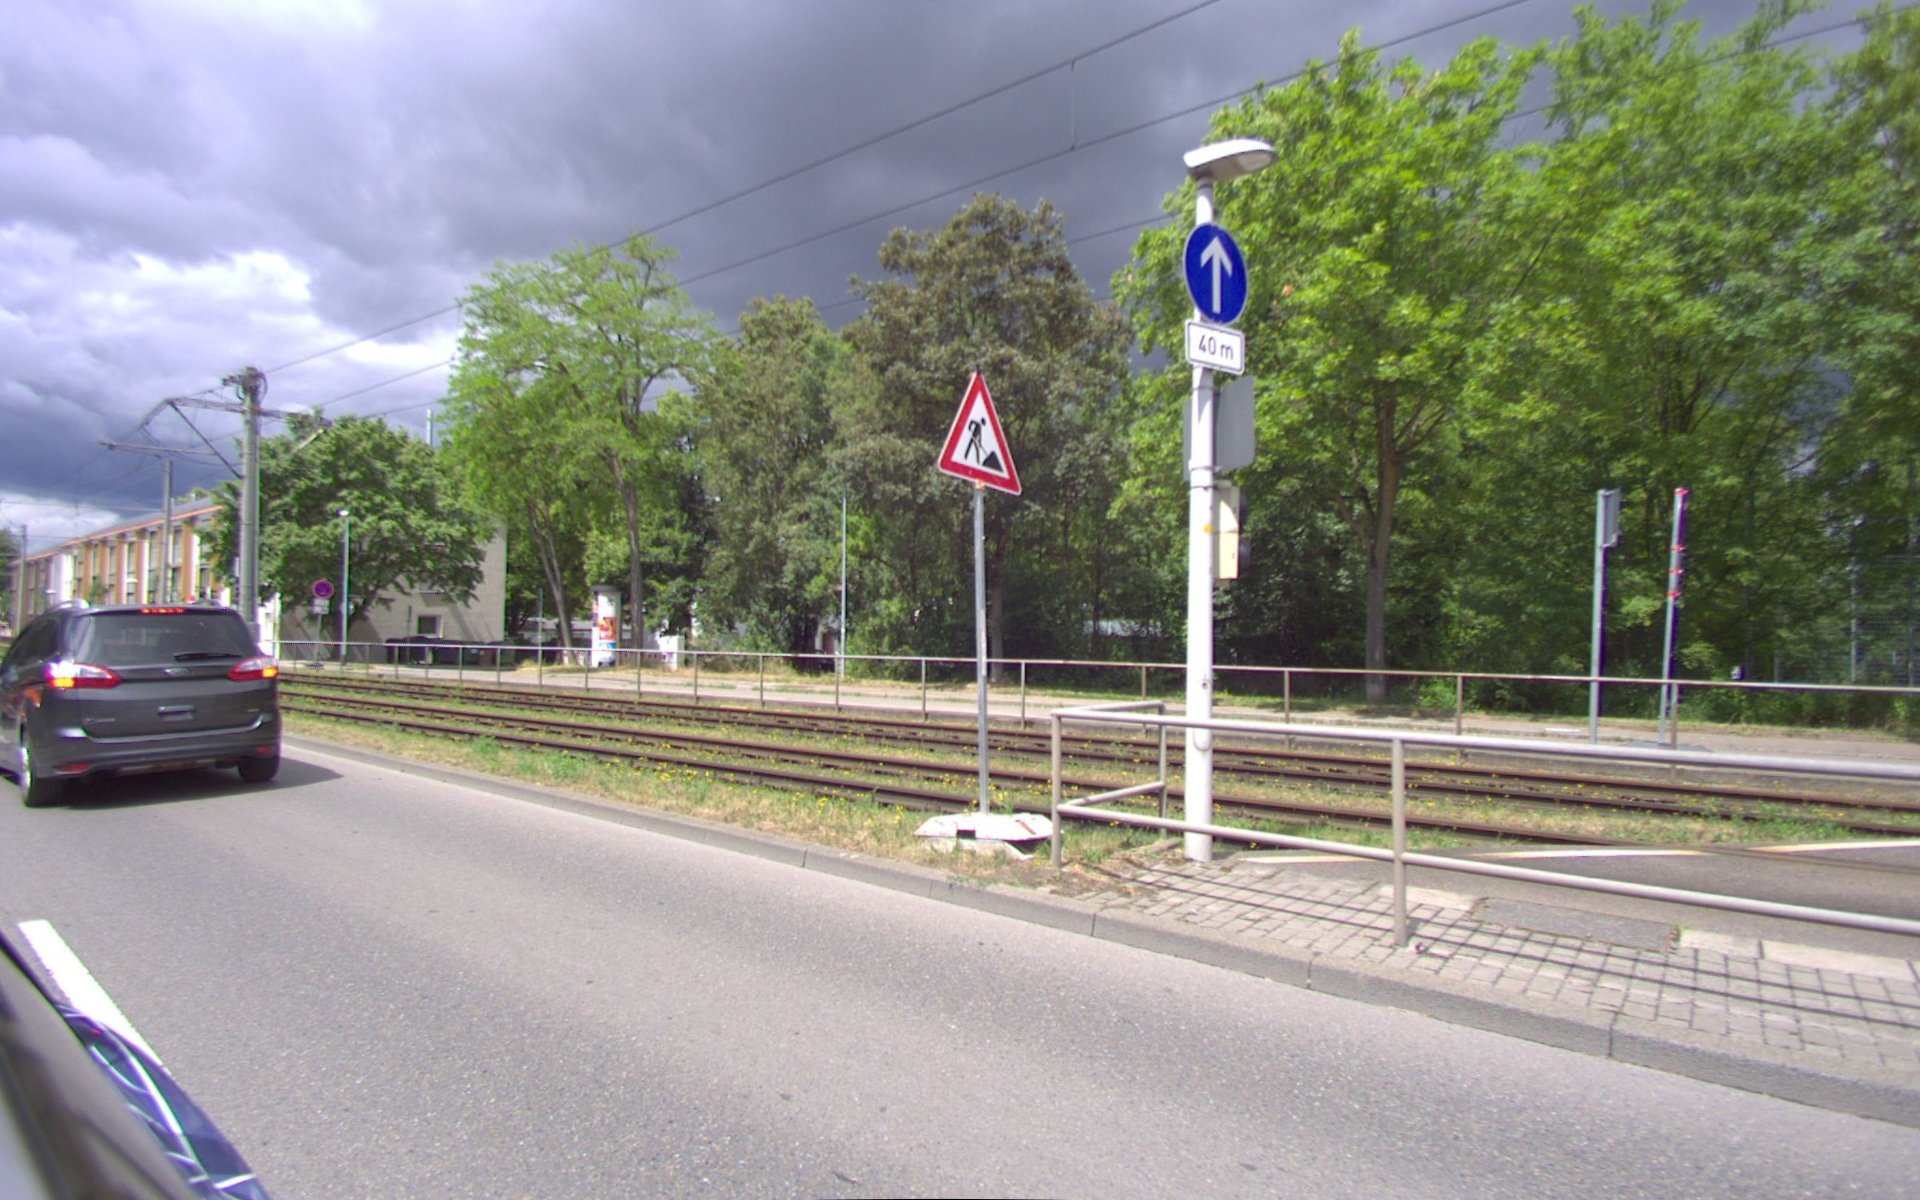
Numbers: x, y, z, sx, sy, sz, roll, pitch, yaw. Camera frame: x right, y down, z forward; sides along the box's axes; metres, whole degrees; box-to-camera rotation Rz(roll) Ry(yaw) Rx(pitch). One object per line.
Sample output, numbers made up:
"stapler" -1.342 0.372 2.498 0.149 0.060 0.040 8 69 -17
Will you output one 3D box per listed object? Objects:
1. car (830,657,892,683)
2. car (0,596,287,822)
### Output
"car" -6.482 4.596 66.805 1.852 1.500 3.947 -1 -2 39
"car" -8.061 0.840 9.557 4.224 1.689 1.690 -1 -1 39
